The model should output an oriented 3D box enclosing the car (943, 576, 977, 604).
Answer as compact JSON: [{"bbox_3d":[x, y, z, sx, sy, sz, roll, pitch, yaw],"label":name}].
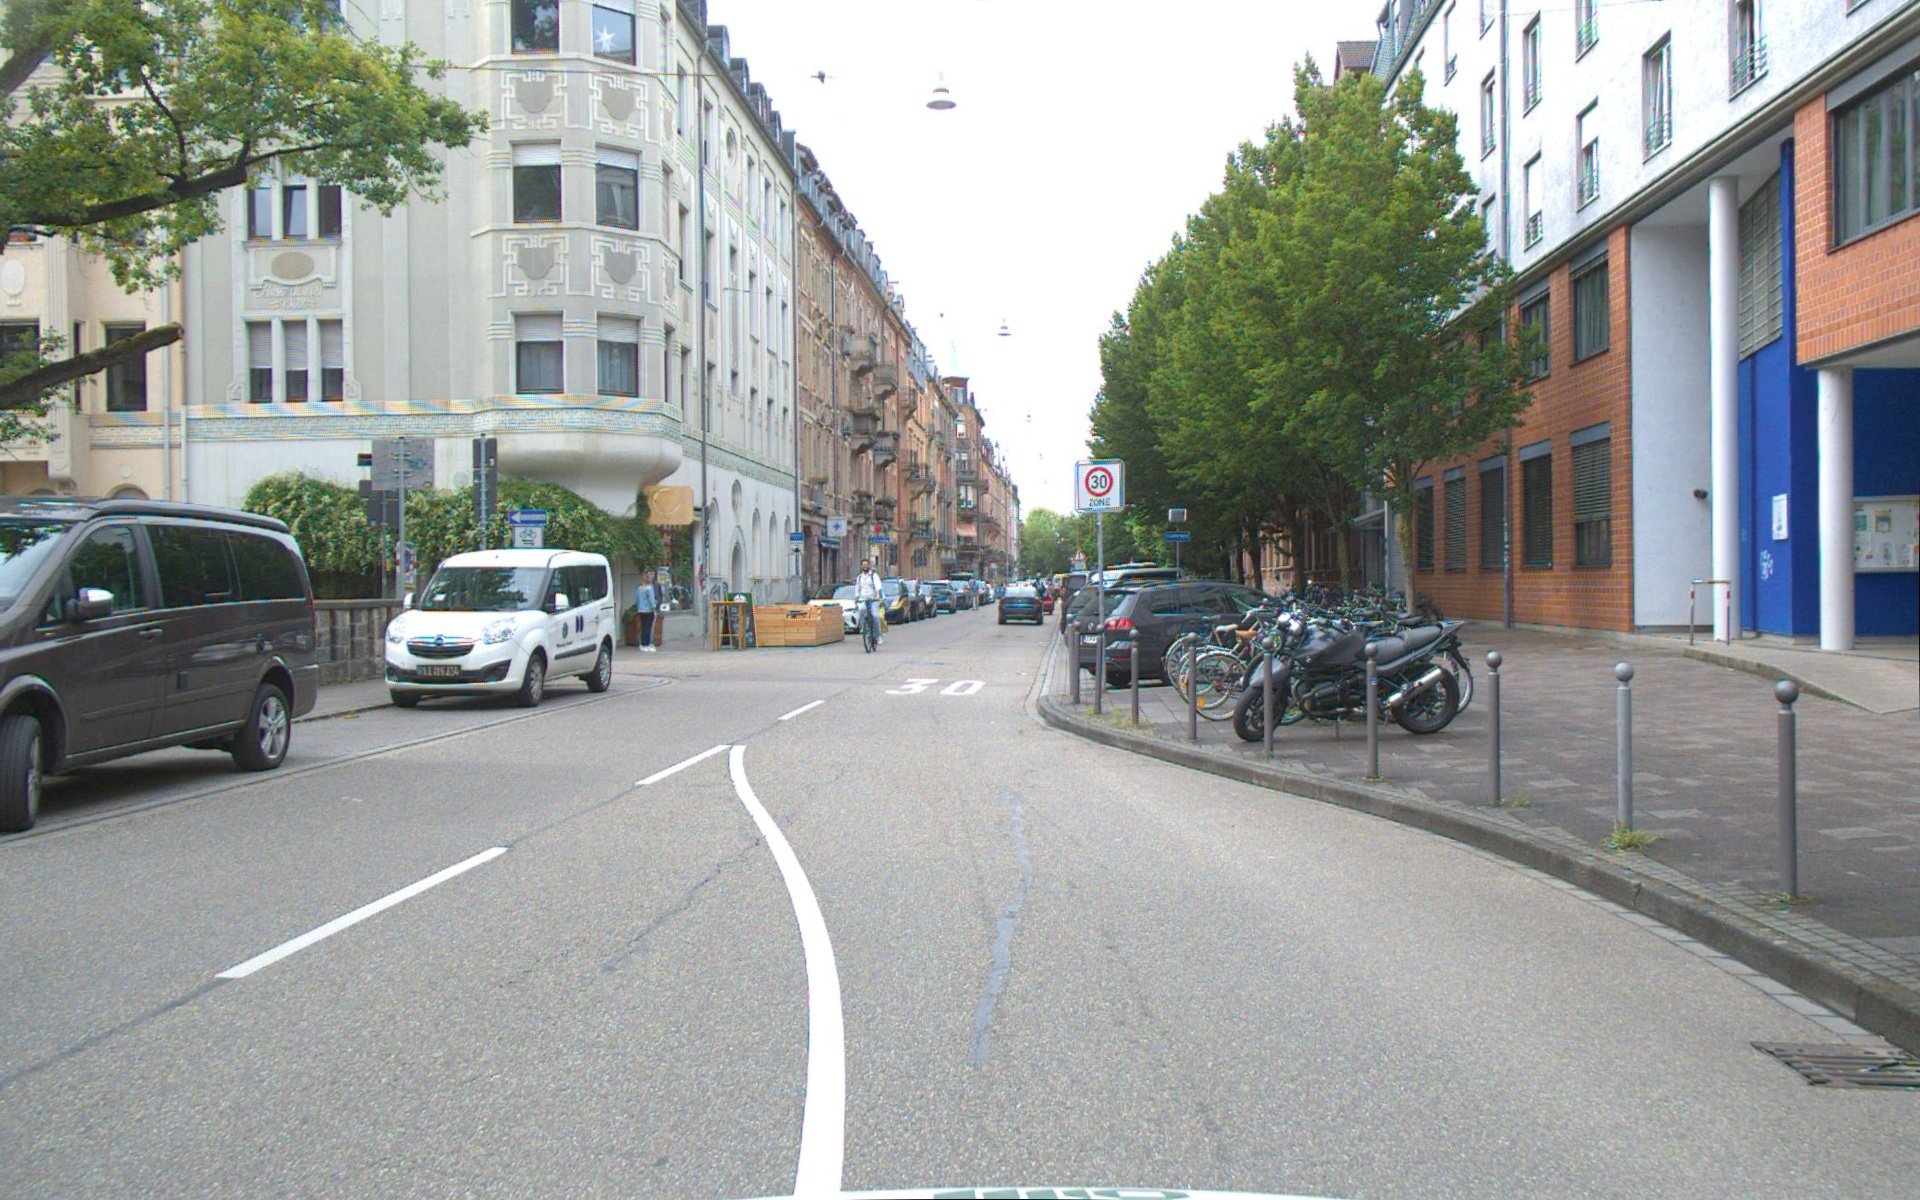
[{"bbox_3d":[0.028,-0.654,105.620,1.903,1.775,3.944,0,0,4],"label":"car"}]

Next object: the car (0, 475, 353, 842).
[{"bbox_3d":[-6.230,0.309,11.303,1.971,2.049,5.185,-1,1,3],"label":"car"}]

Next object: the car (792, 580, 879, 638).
[{"bbox_3d":[-3.696,0.248,49.676,1.903,1.580,3.820,-2,0,6],"label":"car"}]

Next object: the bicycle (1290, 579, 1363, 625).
[{"bbox_3d":[9.140,0.054,41.282,1.716,1.111,0.565,-1,-1,3],"label":"bicycle"}]

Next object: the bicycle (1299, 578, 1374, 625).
[{"bbox_3d":[9.199,0.045,40.421,1.716,1.111,0.565,-1,-1,3],"label":"bicycle"}]

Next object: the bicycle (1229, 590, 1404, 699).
[{"bbox_3d":[4.073,0.505,18.981,1.845,1.161,0.612,-2,-1,0],"label":"bicycle"}]

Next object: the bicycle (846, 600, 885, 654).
[{"bbox_3d":[-2.053,0.571,36.212,0.555,1.106,1.988,-1,1,5],"label":"bicycle"}]

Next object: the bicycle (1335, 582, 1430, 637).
[{"bbox_3d":[8.642,0.198,33.865,1.797,1.111,0.543,-1,-1,3],"label":"bicycle"}]

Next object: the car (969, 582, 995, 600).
[{"bbox_3d":[1.713,-0.697,127.302,1.952,1.344,4.000,-1,-1,0],"label":"car"}]

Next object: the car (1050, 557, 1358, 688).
[{"bbox_3d":[3.618,0.295,24.358,4.229,1.606,1.845,-4,1,-30],"label":"car"}]

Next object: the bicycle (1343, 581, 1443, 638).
[{"bbox_3d":[8.647,0.189,33.054,1.855,1.111,0.543,-1,-1,3],"label":"bicycle"}]

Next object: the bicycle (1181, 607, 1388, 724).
[{"bbox_3d":[3.181,0.640,16.315,1.889,1.061,0.612,-2,-1,0],"label":"bicycle"}]

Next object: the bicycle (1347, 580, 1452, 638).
[{"bbox_3d":[8.614,0.183,32.448,1.892,1.111,0.577,-1,-1,3],"label":"bicycle"}]

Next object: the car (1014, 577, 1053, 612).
[{"bbox_3d":[3.787,-0.274,85.375,1.952,1.710,4.001,-1,-1,2],"label":"car"}]

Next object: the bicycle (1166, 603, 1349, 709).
[{"bbox_3d":[3.214,0.602,17.976,1.845,1.061,0.612,-2,-1,0],"label":"bicycle"}]

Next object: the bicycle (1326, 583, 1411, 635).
[{"bbox_3d":[8.896,0.195,36.063,1.716,1.111,0.565,-1,-1,3],"label":"bicycle"}]

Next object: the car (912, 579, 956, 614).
[{"bbox_3d":[-1.267,-0.197,82.761,1.903,1.645,3.944,-1,1,3],"label":"car"}]

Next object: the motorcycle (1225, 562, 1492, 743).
[{"bbox_3d":[3.443,0.451,14.414,2.090,1.454,0.771,-2,-1,0],"label":"motorcycle"}]

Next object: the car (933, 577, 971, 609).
[{"bbox_3d":[-0.445,-0.415,94.815,1.903,1.772,3.944,0,0,4],"label":"car"}]

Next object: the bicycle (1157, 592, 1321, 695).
[{"bbox_3d":[3.365,0.519,20.060,1.845,1.161,0.612,-2,-1,0],"label":"bicycle"}]

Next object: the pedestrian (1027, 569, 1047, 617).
[{"bbox_3d":[3.506,-0.303,75.463,0.872,2.183,1.028,-1,-1,2],"label":"pedestrian"}]

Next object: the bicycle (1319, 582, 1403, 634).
[{"bbox_3d":[8.879,0.181,36.671,1.716,1.111,0.565,-1,-1,3],"label":"bicycle"}]

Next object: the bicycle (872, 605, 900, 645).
[{"bbox_3d":[-1.887,0.634,42.264,0.524,0.994,1.866,-1,-1,3],"label":"bicycle"}]

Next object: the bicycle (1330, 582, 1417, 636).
[{"bbox_3d":[8.814,0.193,35.283,1.716,1.111,0.565,-1,-1,3],"label":"bicycle"}]

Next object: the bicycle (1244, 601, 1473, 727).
[{"bbox_3d":[3.719,0.590,15.525,1.968,1.081,0.612,-2,-1,0],"label":"bicycle"}]

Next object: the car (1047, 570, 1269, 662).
[{"bbox_3d":[3.931,0.299,32.782,4.000,1.612,1.886,-2,0,-28],"label":"car"}]

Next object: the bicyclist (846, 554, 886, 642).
[{"bbox_3d":[-2.081,-0.047,36.542,0.765,1.898,0.715,-1,0,4],"label":"bicyclist"}]

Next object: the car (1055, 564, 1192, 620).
[{"bbox_3d":[6.542,-0.319,65.954,5.331,2.027,1.930,-2,0,-31],"label":"car"}]

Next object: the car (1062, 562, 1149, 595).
[{"bbox_3d":[9.285,-1.379,105.603,5.321,1.900,1.934,-2,0,-26],"label":"car"}]

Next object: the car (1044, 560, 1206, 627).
[{"bbox_3d":[5.804,-0.239,57.882,5.550,2.164,1.930,-2,0,-31],"label":"car"}]

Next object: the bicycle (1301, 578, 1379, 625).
[{"bbox_3d":[9.081,0.037,39.549,1.716,1.111,0.565,-1,-1,3],"label":"bicycle"}]

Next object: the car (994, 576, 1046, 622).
[{"bbox_3d":[2.358,-0.024,64.865,1.952,1.710,4.001,-1,-1,2],"label":"car"}]

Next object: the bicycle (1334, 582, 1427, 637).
[{"bbox_3d":[8.807,0.198,34.652,1.797,1.111,0.565,-1,-1,3],"label":"bicycle"}]

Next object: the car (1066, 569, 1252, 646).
[{"bbox_3d":[4.640,0.163,38.555,3.999,1.612,1.755,-2,0,-27],"label":"car"}]

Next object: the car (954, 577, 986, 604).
[{"bbox_3d":[0.675,-0.681,112.394,1.903,1.768,3.945,-1,1,4],"label":"car"}]

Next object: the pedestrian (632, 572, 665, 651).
[{"bbox_3d":[-6.980,0.257,37.058,0.573,1.765,0.500,0,-1,-32],"label":"pedestrian"}]

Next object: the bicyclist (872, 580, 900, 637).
[{"bbox_3d":[-1.883,0.214,42.162,0.654,1.423,0.783,-1,-1,1],"label":"bicyclist"}]

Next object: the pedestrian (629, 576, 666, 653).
[{"bbox_3d":[-6.857,0.319,36.330,0.567,1.689,0.575,-1,-1,25],"label":"pedestrian"}]

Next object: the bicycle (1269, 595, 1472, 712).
[{"bbox_3d":[4.188,0.542,16.953,1.889,1.096,0.612,-2,-1,0],"label":"bicycle"}]

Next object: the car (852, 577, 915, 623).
[{"bbox_3d":[-2.812,-0.023,61.318,1.903,1.645,3.944,0,0,4],"label":"car"}]

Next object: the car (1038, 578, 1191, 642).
[{"bbox_3d":[4.109,0.256,43.781,3.822,1.531,1.748,-2,0,-37],"label":"car"}]

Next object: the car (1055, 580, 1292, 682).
[{"bbox_3d":[3.505,0.454,27.103,3.520,1.525,1.825,-1,1,-32],"label":"car"}]

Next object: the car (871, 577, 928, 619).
[{"bbox_3d":[-2.407,-0.072,66.780,1.903,1.645,3.944,0,0,4],"label":"car"}]

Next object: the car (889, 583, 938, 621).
[{"bbox_3d":[-2.053,0.068,73.952,1.903,1.645,3.944,0,0,3],"label":"car"}]

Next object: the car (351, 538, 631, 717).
[{"bbox_3d":[-5.684,0.274,20.693,1.804,1.973,4.551,0,1,6],"label":"car"}]
